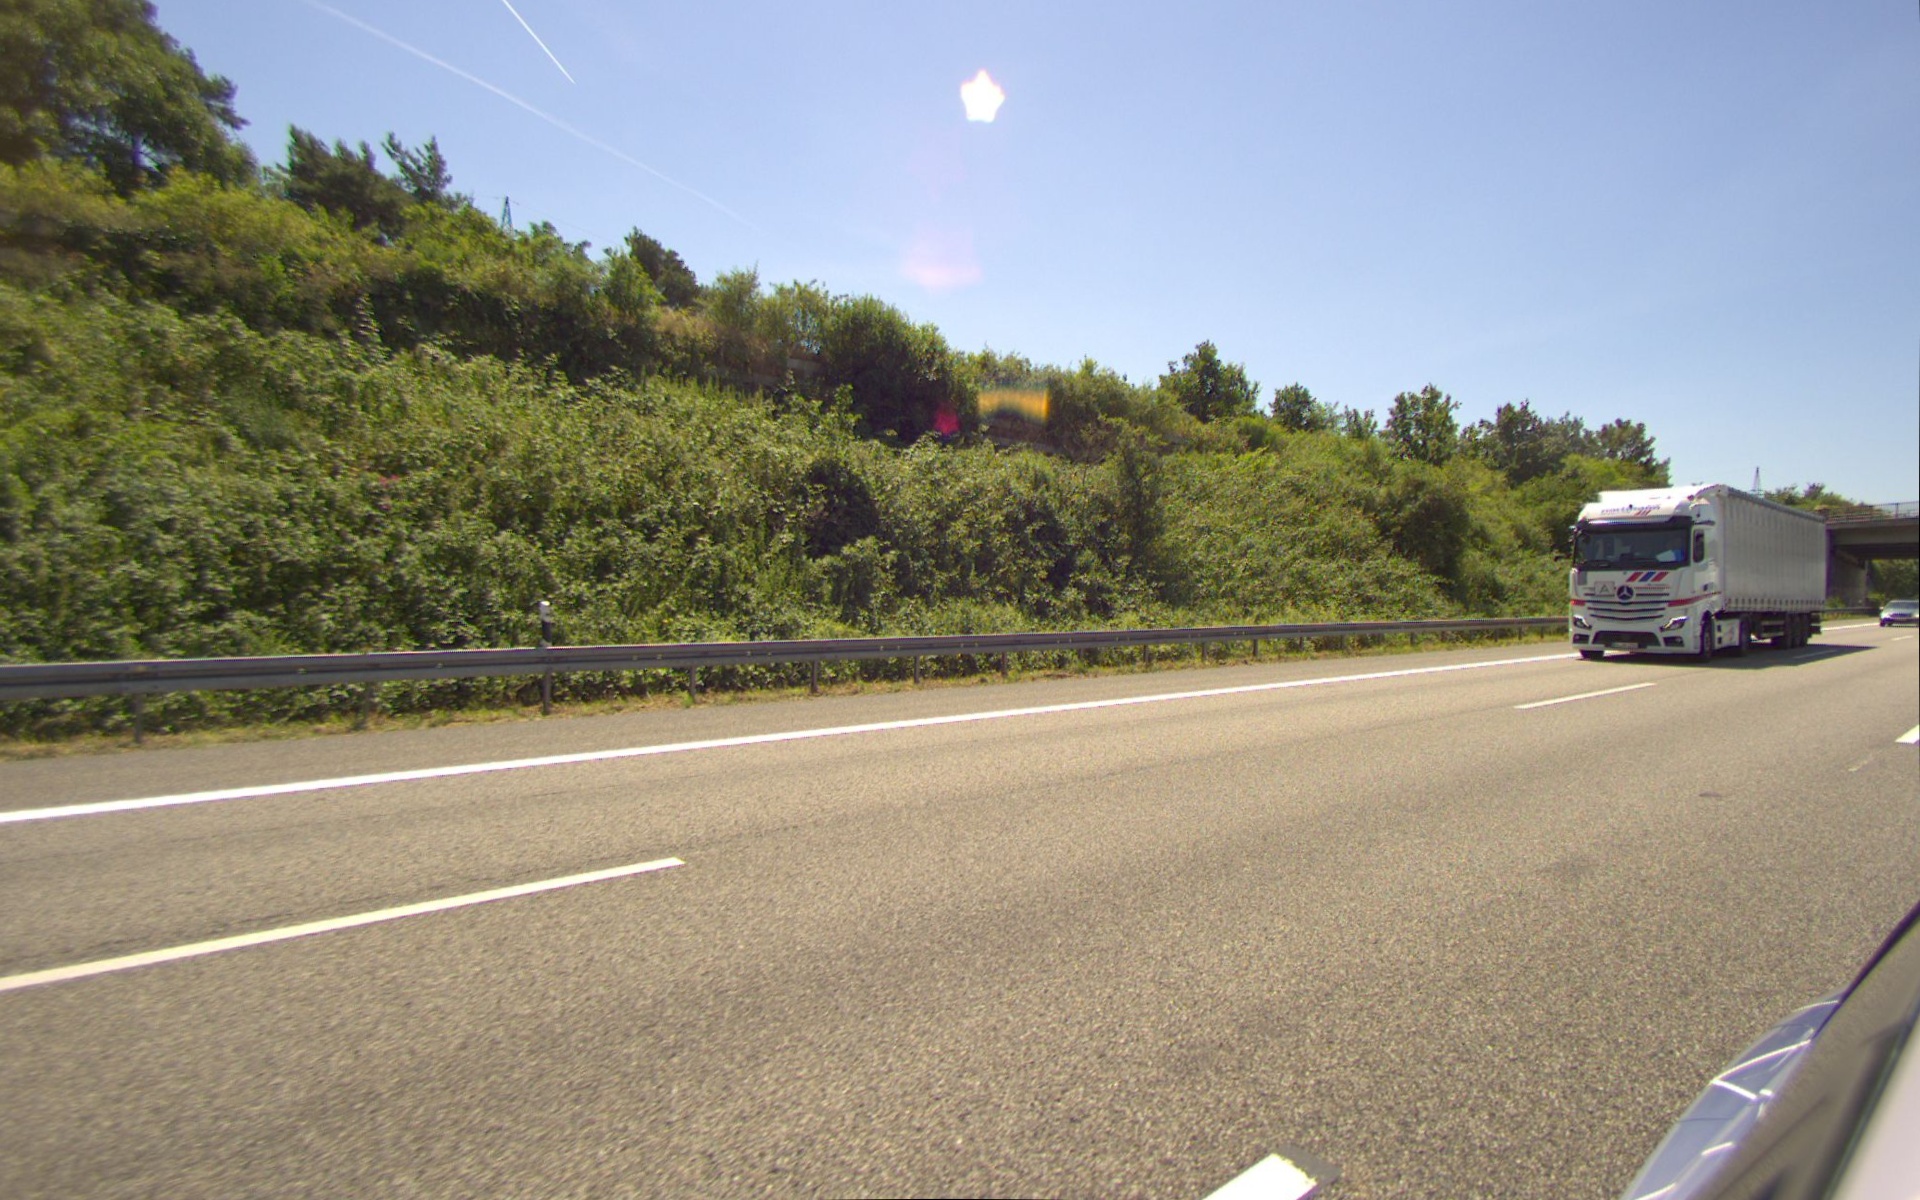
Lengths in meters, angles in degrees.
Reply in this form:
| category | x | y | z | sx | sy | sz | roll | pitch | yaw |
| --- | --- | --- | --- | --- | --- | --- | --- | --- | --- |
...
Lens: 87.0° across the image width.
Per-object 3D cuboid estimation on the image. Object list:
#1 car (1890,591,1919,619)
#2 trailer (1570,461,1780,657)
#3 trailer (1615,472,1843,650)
| category | x | y | z | sx | sy | sz | roll | pitch | yaw |
| --- | --- | --- | --- | --- | --- | --- | --- | --- | --- |
| car | 51.005 | 0.264 | 53.800 | 4.480 | 1.430 | 1.838 | 0 | 0 | -42 |
| trailer | 17.601 | -0.914 | 24.732 | 6.671 | 4.154 | 2.717 | 0 | 1 | -42 |
| trailer | 22.410 | -0.980 | 29.008 | 12.961 | 4.154 | 2.733 | 0 | 1 | -42 |
